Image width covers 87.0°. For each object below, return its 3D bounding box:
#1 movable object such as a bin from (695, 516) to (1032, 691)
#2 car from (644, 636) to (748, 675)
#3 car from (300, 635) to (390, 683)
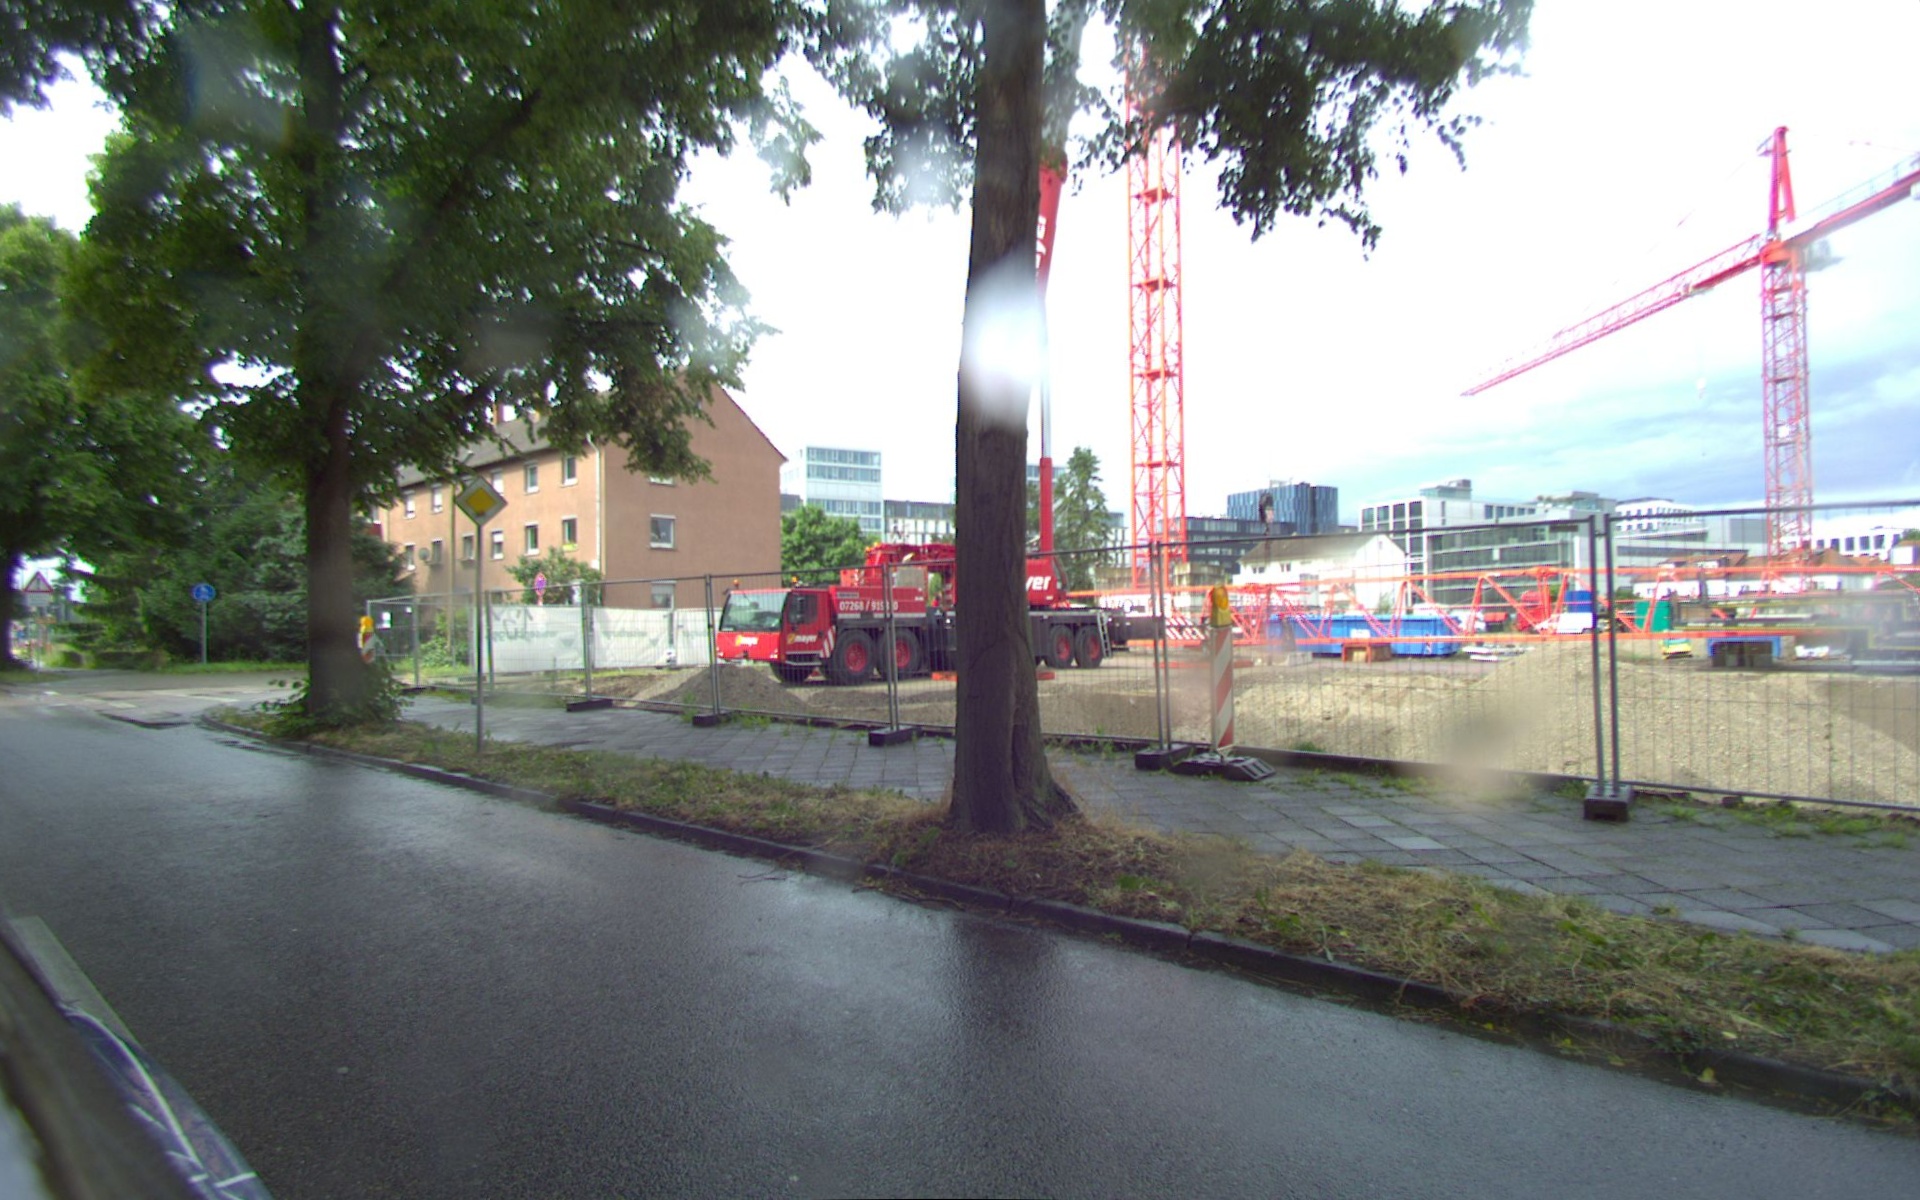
[{"bbox_3d":[-2.366,0.148,28.794,3.366,4.147,9.704,-3,-2,43],"label":"movable object such as a bin"},{"bbox_3d":[-10.428,2.169,40.276,1.721,1.424,4.026,-2,-2,29],"label":"car"},{"bbox_3d":[-21.275,2.005,34.955,3.869,1.431,1.607,0,0,42],"label":"car"}]
